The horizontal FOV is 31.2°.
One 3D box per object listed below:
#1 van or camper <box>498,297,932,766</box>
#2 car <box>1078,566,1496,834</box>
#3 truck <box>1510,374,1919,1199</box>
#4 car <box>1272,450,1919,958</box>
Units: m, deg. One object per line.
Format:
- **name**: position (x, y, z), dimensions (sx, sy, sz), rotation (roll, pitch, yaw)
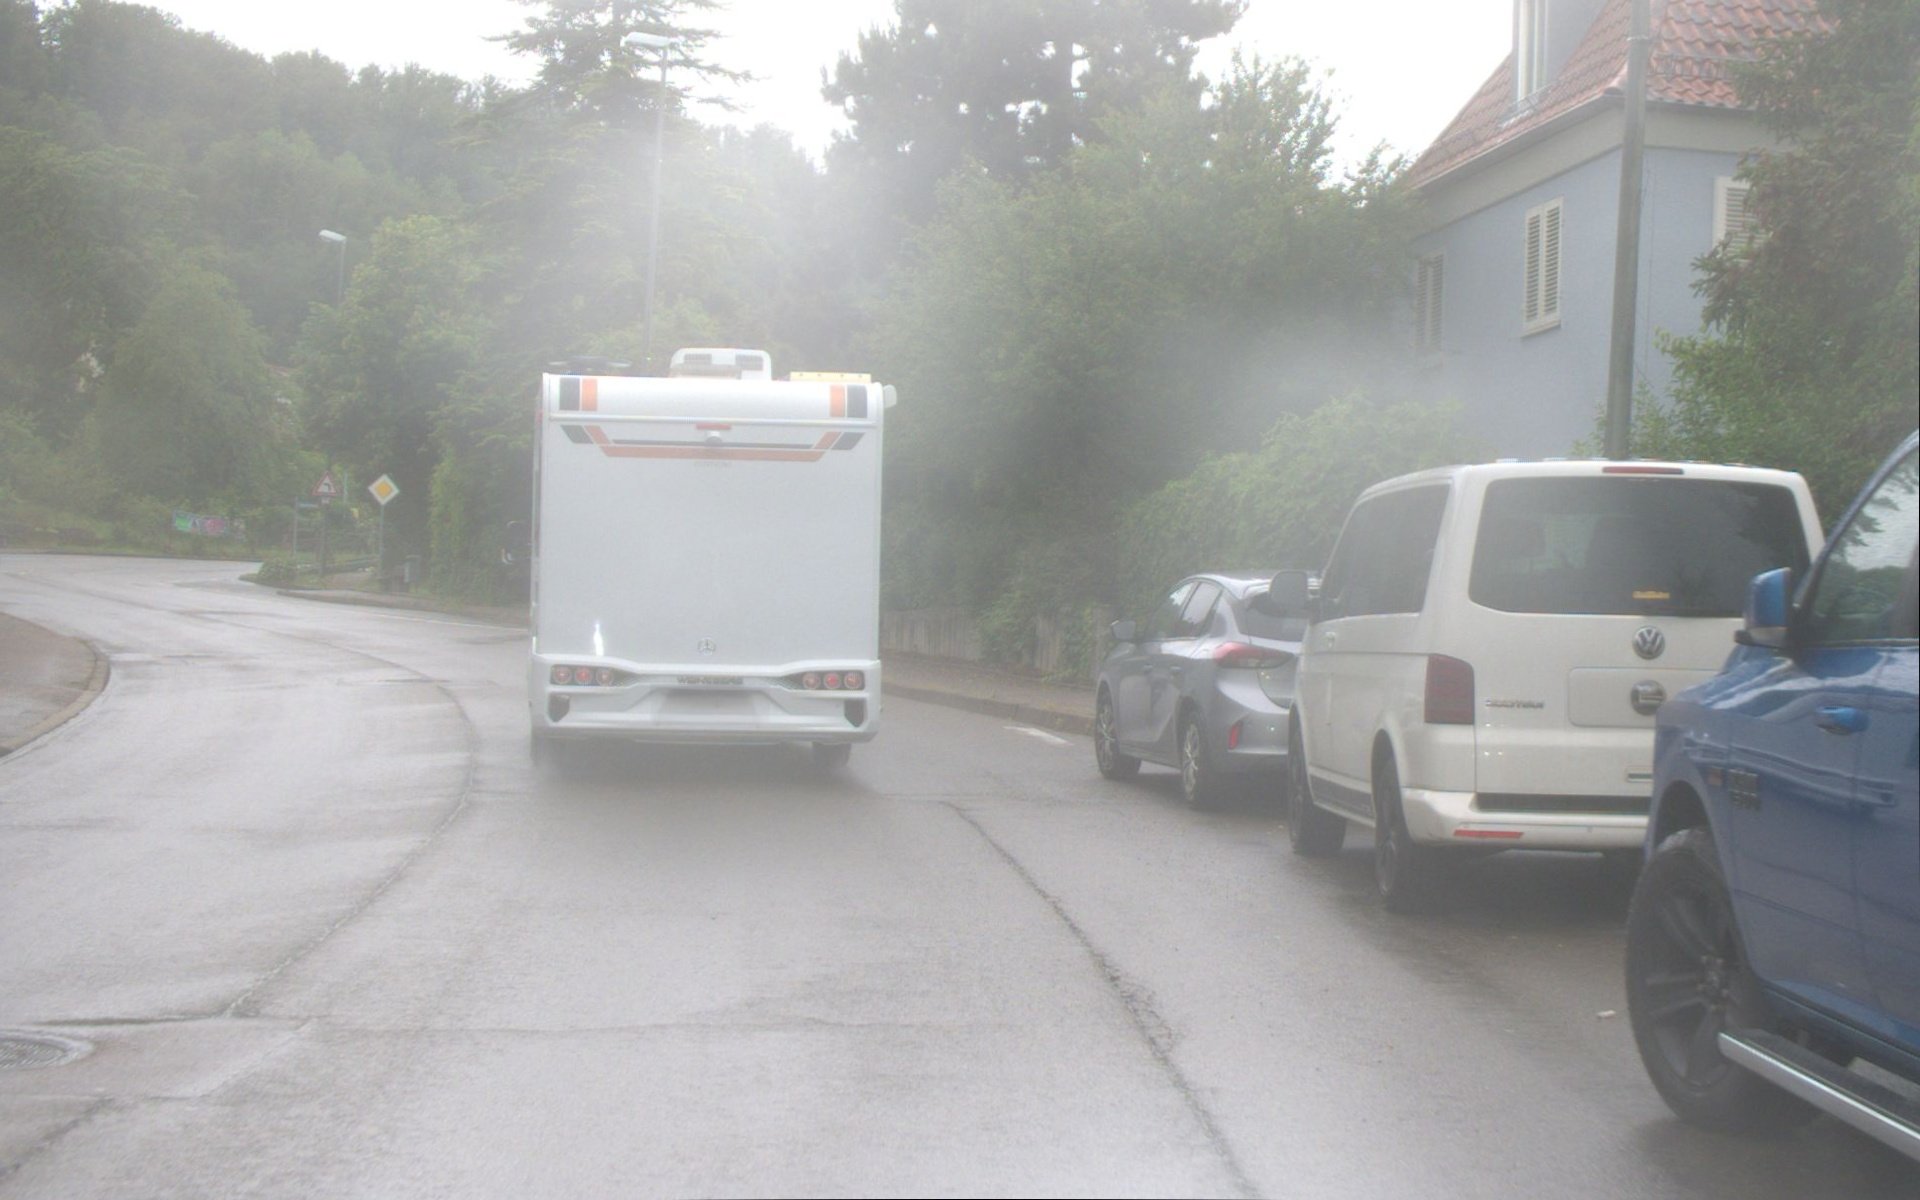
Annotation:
- **van or camper**: position (-1.905, -0.408, 24.705), dimensions (2.615, 2.843, 6.032), rotation (3, -1, -7)
- **car**: position (1.979, 0.567, 22.013), dimensions (1.685, 1.452, 4.059), rotation (2, 1, -8)
- **truck**: position (2.966, 0.503, 7.642), dimensions (2.113, 1.845, 6.619), rotation (3, 1, -2)
- **car**: position (2.721, 0.358, 15.943), dimensions (1.860, 1.914, 5.080), rotation (2, 1, -2)
